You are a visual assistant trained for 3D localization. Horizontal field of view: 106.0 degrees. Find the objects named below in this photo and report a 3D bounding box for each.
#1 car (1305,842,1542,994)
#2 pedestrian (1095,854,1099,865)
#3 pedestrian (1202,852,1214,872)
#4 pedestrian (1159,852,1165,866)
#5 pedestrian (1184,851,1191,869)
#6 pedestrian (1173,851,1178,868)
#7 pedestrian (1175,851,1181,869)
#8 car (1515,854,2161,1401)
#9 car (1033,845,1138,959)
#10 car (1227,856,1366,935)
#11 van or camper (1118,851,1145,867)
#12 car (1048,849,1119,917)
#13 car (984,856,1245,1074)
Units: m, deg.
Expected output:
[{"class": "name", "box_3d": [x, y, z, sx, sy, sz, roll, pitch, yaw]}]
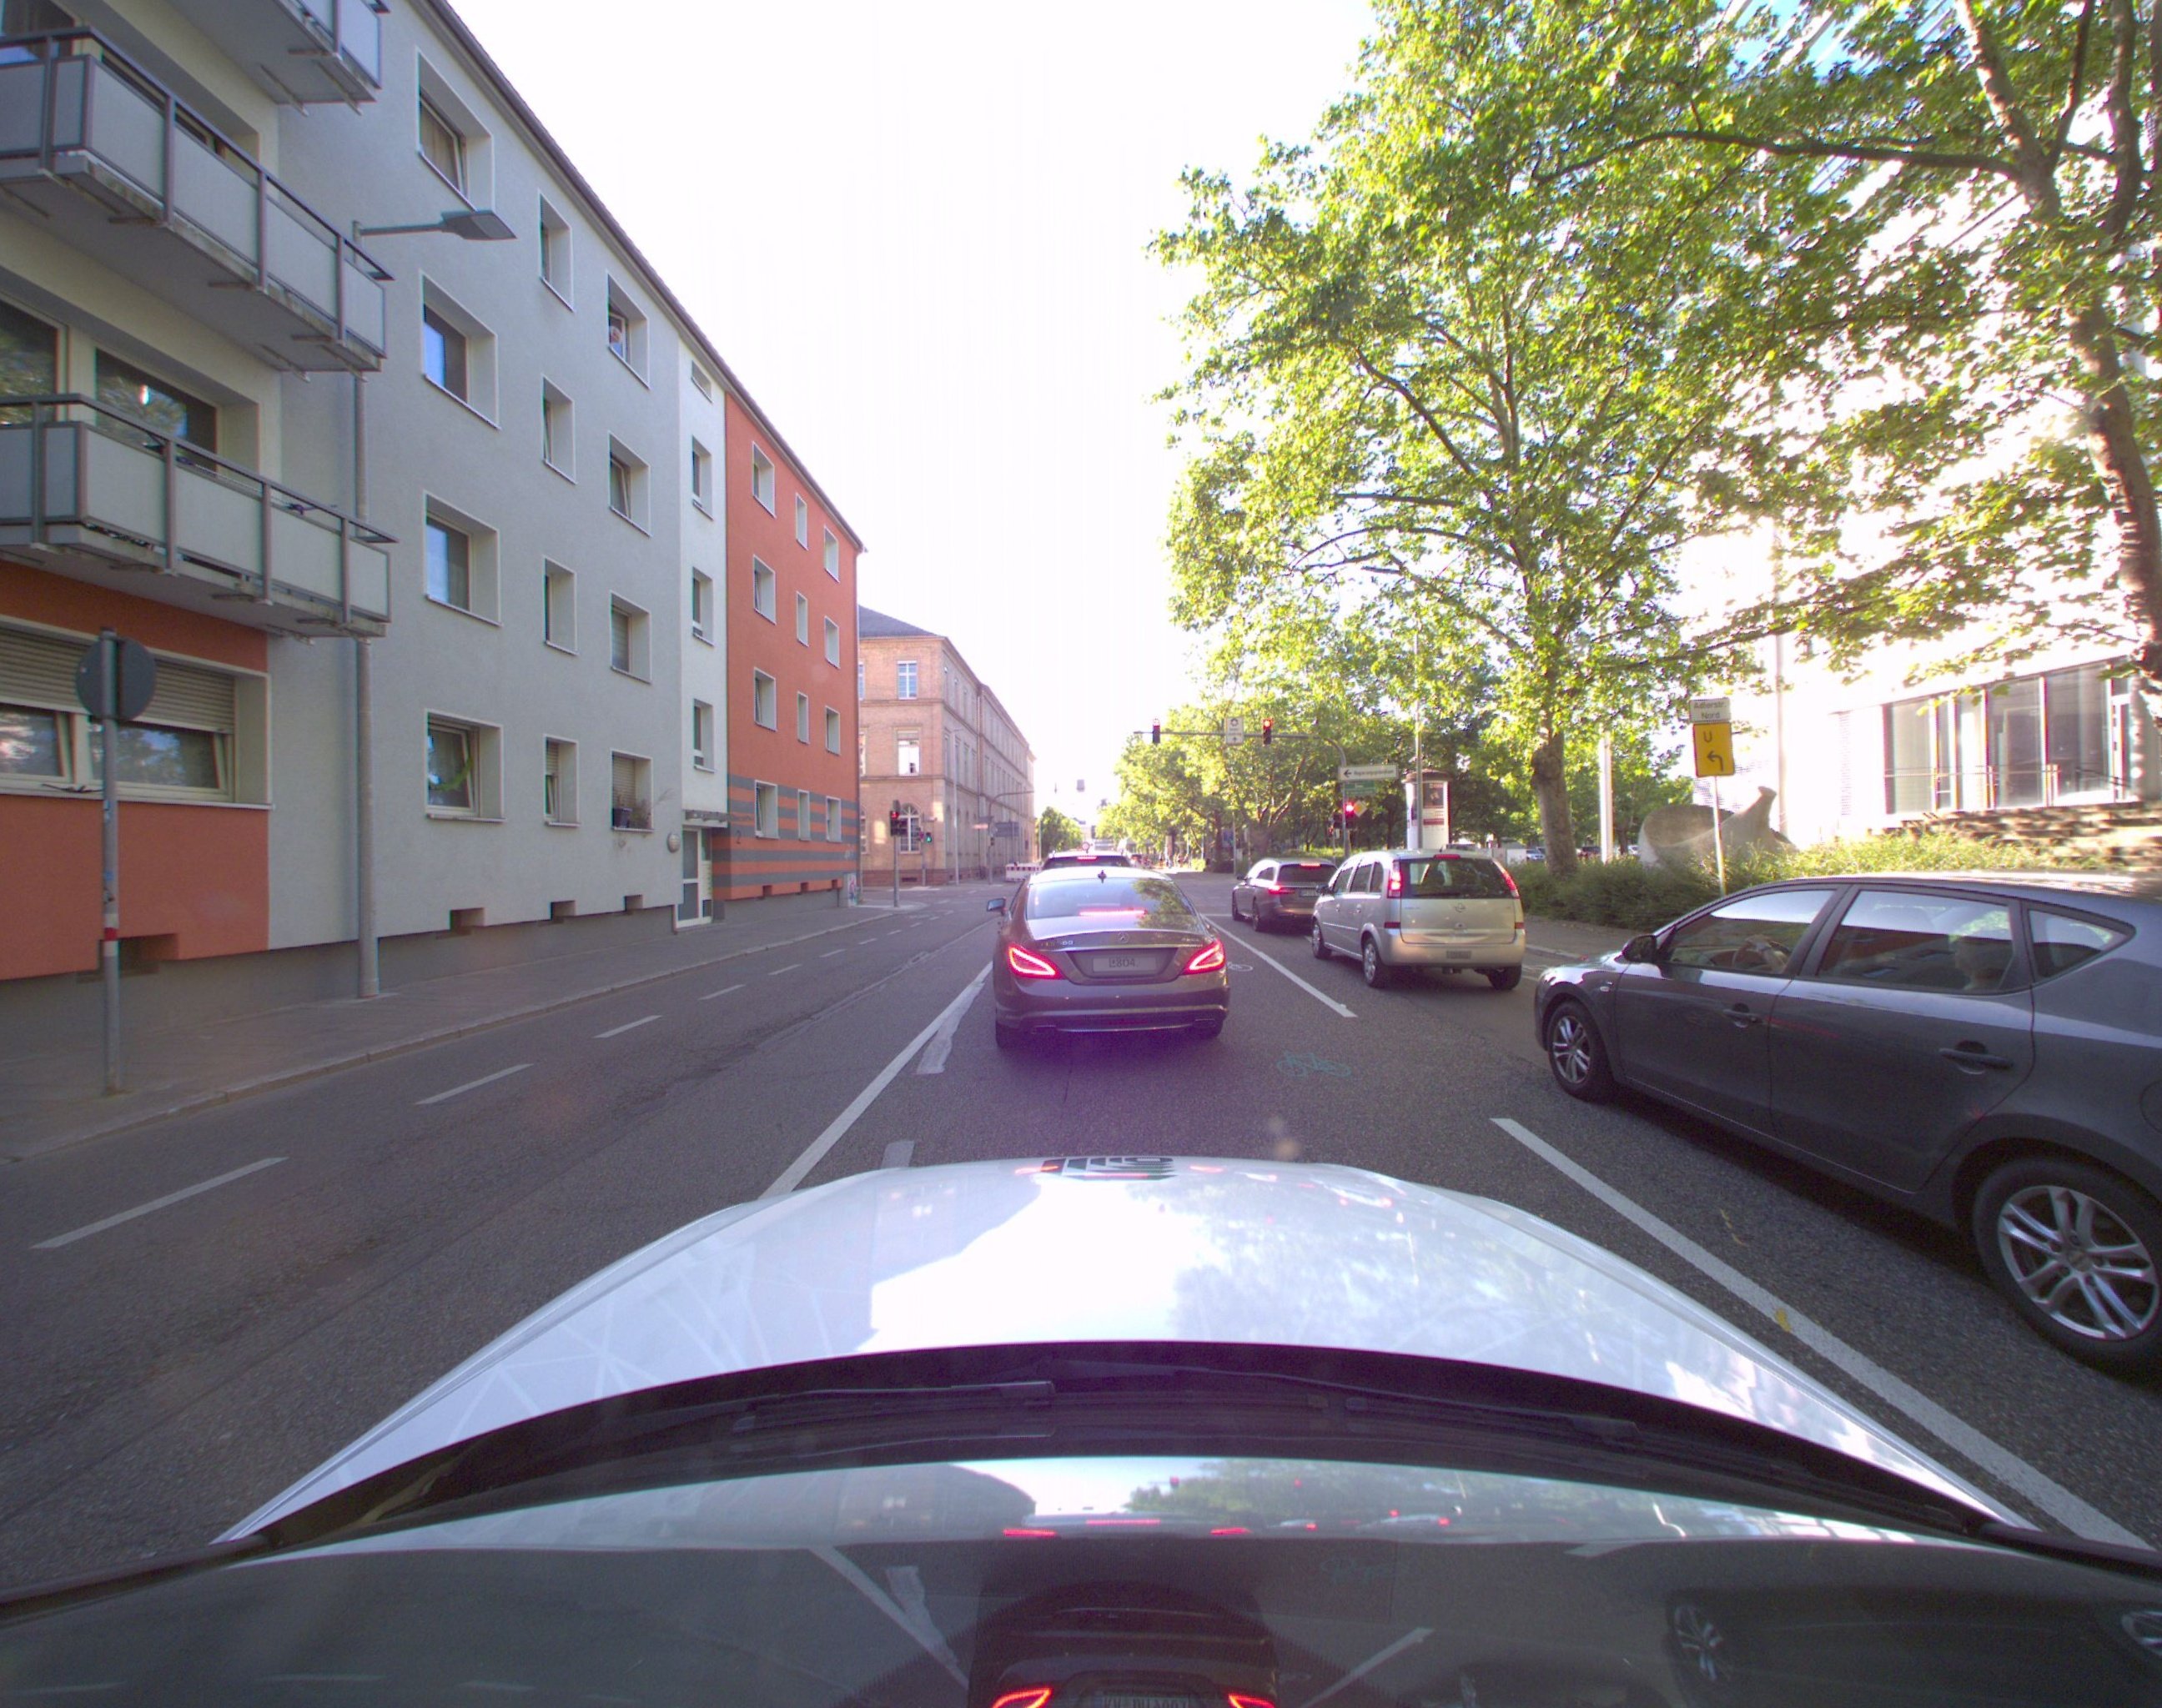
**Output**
[{"class": "car", "box_3d": [4.213, 0.685, 10.684, 1.694, 1.603, 3.863, 1, 0, 4]}, {"class": "pedestrian", "box_3d": [2.543, 0.804, 126.222, 0.578, 1.733, 0.623, -1, 0, 1]}, {"class": "pedestrian", "box_3d": [10.250, 0.676, 65.791, 0.827, 1.606, 0.652, -1, 0, 1]}, {"class": "pedestrian", "box_3d": [10.520, 0.640, 105.634, 0.699, 1.837, 0.736, -1, 0, -1]}, {"class": "pedestrian", "box_3d": [10.957, 0.627, 83.891, 0.601, 1.821, 0.652, -1, 0, 1]}, {"class": "pedestrian", "box_3d": [11.105, 0.656, 95.396, 0.537, 2.014, 0.474, 0, -1, 1]}, {"class": "pedestrian", "box_3d": [10.020, 0.642, 83.976, 0.601, 1.821, 0.652, -1, 0, 1]}, {"class": "car", "box_3d": [3.801, 0.752, 3.709, 1.638, 1.482, 3.978, 1, 0, 2]}, {"class": "car", "box_3d": [0.065, 0.707, 13.854, 1.513, 1.647, 3.879, -1, 0, 0]}, {"class": "car", "box_3d": [4.436, 0.773, 17.526, 1.905, 1.464, 4.671, 0, 0, 2]}, {"class": "van or camper", "box_3d": [6.418, 0.640, 103.940, 1.997, 1.941, 4.570, -1, 0, -16]}, {"class": "car", "box_3d": [0.129, 0.764, 23.365, 1.813, 1.762, 4.002, -1, 0, 2]}, {"class": "car", "box_3d": [0.053, 0.759, 7.780, 1.801, 1.456, 4.342, -1, 0, -5]}]
